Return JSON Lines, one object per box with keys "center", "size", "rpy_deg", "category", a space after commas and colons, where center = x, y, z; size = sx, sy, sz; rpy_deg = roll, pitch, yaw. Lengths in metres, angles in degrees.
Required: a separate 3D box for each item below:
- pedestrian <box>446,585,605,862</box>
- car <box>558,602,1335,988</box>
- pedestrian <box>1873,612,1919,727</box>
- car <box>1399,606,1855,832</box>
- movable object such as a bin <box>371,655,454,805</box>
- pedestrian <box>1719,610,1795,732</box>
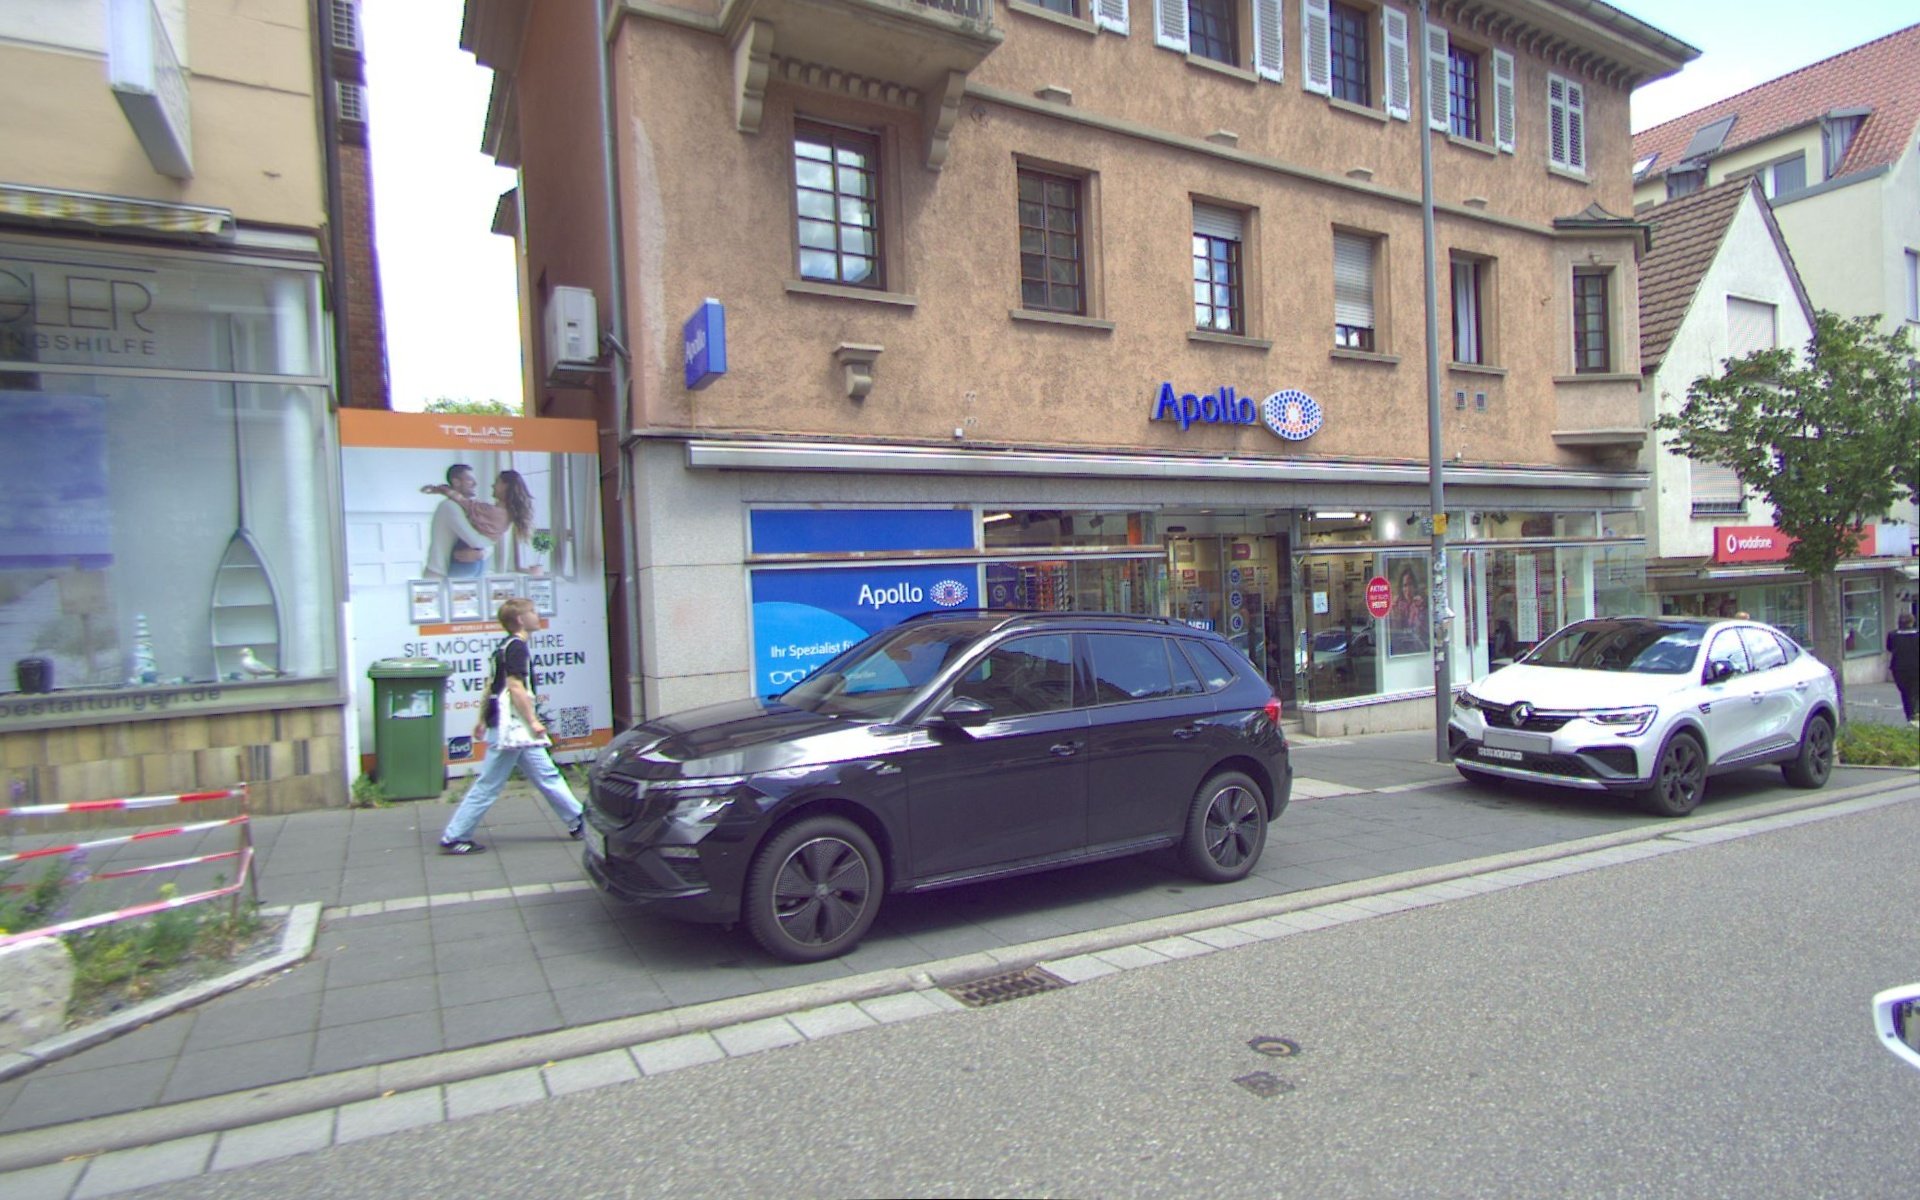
{"center": [-2.704, 0.723, 6.250], "size": [0.853, 1.596, 0.545], "rpy_deg": [0, -2, -31], "category": "pedestrian"}
{"center": [0.052, 0.809, 5.913], "size": [4.216, 1.516, 1.916], "rpy_deg": [1, -1, -33], "category": "car"}
{"center": [14.367, 1.036, 15.141], "size": [0.712, 1.690, 0.723], "rpy_deg": [1, 0, -30], "category": "pedestrian"}
{"center": [6.338, 0.897, 9.429], "size": [4.408, 1.617, 1.916], "rpy_deg": [0, 1, -32], "category": "car"}
{"center": [-4.313, 0.989, 7.904], "size": [0.541, 1.098, 0.737], "rpy_deg": [1, -3, -30], "category": "movable object such as a bin"}
{"center": [11.421, 0.989, 14.391], "size": [0.712, 1.690, 0.638], "rpy_deg": [1, 0, -30], "category": "pedestrian"}
